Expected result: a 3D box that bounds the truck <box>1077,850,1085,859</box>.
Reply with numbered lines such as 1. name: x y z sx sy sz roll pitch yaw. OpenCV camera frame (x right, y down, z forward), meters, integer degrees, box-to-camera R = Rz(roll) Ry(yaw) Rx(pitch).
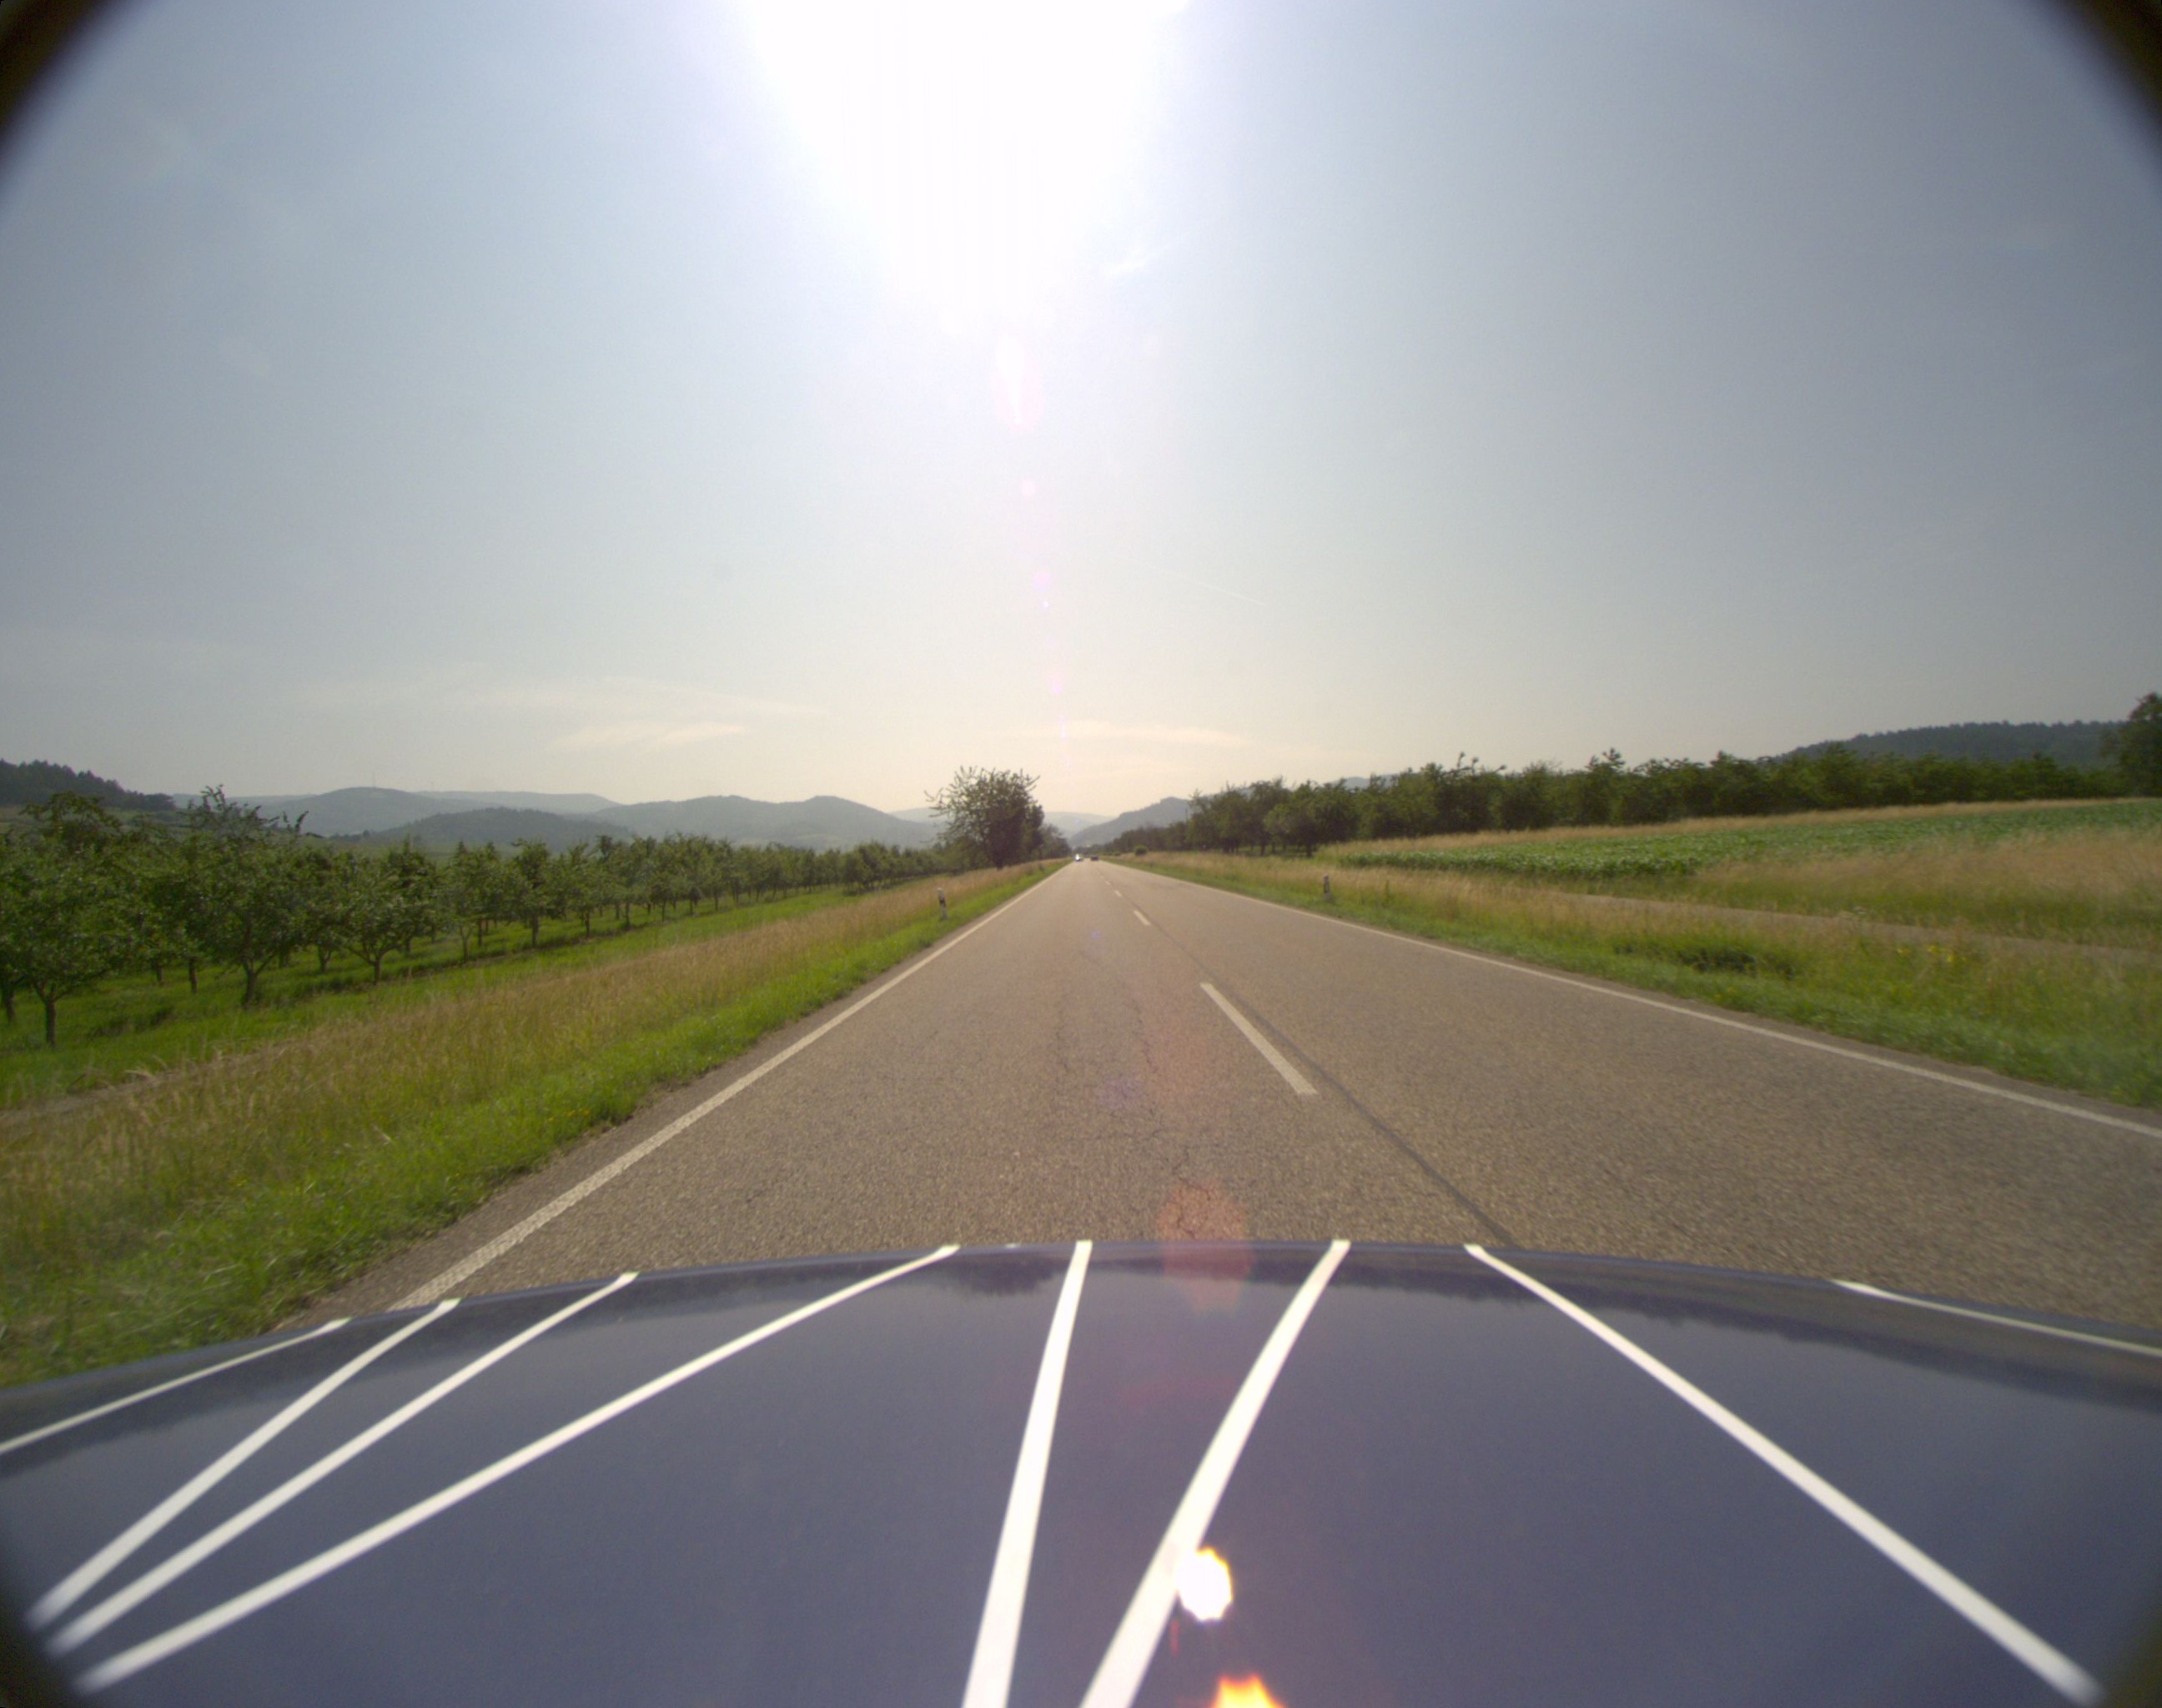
1. truck: -0.009 0.175 209.447 2.031 2.233 4.765 -2 1 3
